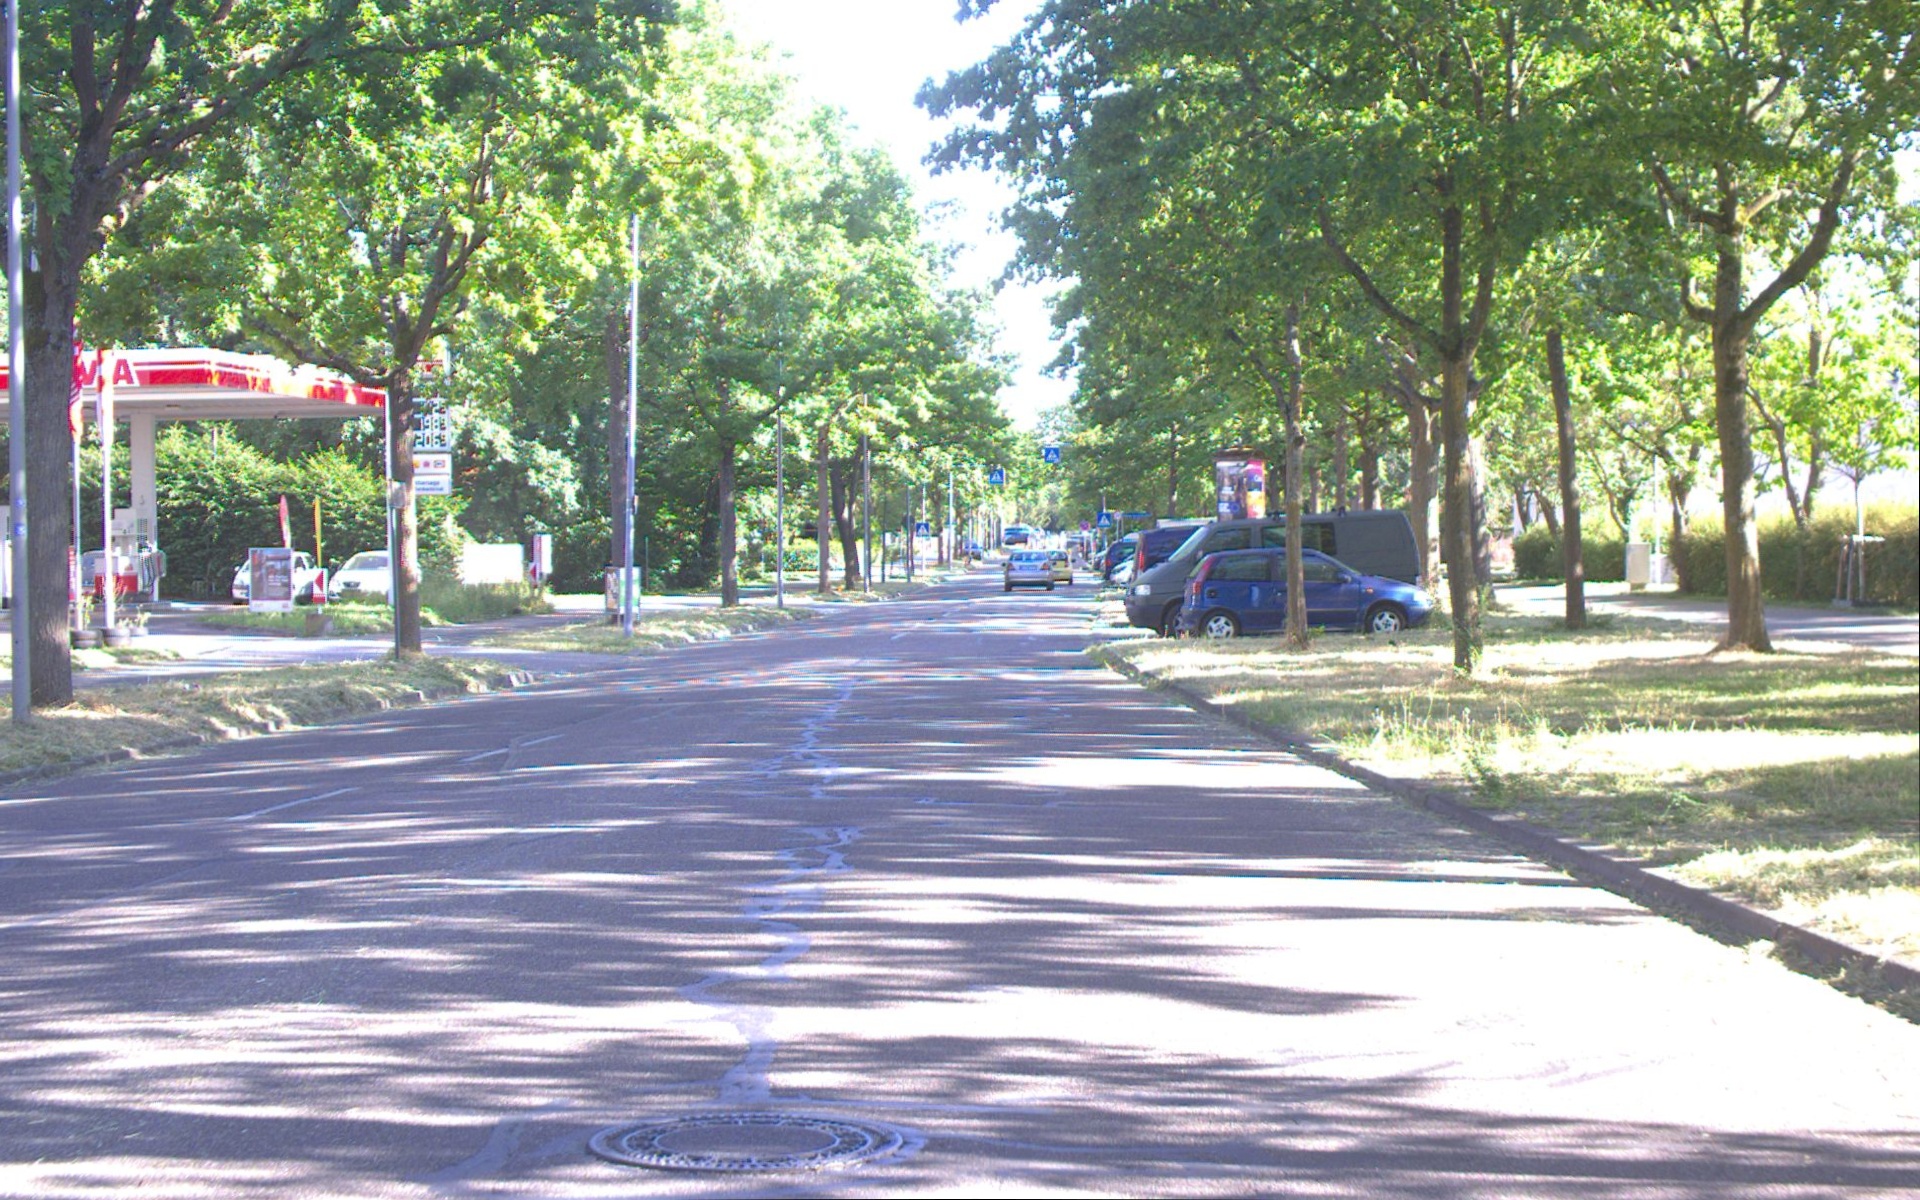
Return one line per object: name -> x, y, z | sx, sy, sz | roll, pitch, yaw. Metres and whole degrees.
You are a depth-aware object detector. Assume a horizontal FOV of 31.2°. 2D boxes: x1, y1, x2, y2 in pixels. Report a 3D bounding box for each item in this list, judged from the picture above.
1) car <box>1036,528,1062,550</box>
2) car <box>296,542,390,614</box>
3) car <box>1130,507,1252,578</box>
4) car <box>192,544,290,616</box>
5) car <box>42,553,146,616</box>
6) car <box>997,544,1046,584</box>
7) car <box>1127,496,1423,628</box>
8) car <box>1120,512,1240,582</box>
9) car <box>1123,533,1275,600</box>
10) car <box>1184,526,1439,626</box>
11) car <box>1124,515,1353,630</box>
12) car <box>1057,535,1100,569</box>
car -> 6.022, -4.126, 232.984 | 1.661, 1.332, 3.665 | -1, 0, 1
car -> -16.198, -0.558, 90.406 | 1.801, 1.817, 3.805 | -1, 0, -1
car -> 6.962, -1.724, 103.806 | 3.567, 2.044, 1.633 | -1, 0, 1
car -> -18.886, -0.501, 90.421 | 1.801, 1.817, 3.805 | -1, 0, -1
car -> -23.301, -0.401, 92.636 | 1.801, 1.615, 3.805 | -1, 0, 0
car -> 2.151, -1.258, 120.974 | 1.661, 1.332, 3.665 | -1, 0, 1
car -> 4.921, -0.585, 54.111 | 4.502, 1.946, 1.687 | -1, 0, 1
car -> 6.787, -1.625, 106.309 | 3.567, 2.044, 1.575 | -1, 0, 1
car -> 5.880, -0.814, 84.928 | 3.653, 1.557, 1.317 | -1, 0, 1
car -> 5.199, -0.346, 51.124 | 3.653, 1.393, 1.317 | -1, 0, 1
car -> 4.561, -0.450, 56.613 | 3.653, 1.791, 1.317 | -1, 0, 1
car -> 4.859, -1.966, 141.392 | 1.661, 1.332, 3.665 | -1, 0, 1
